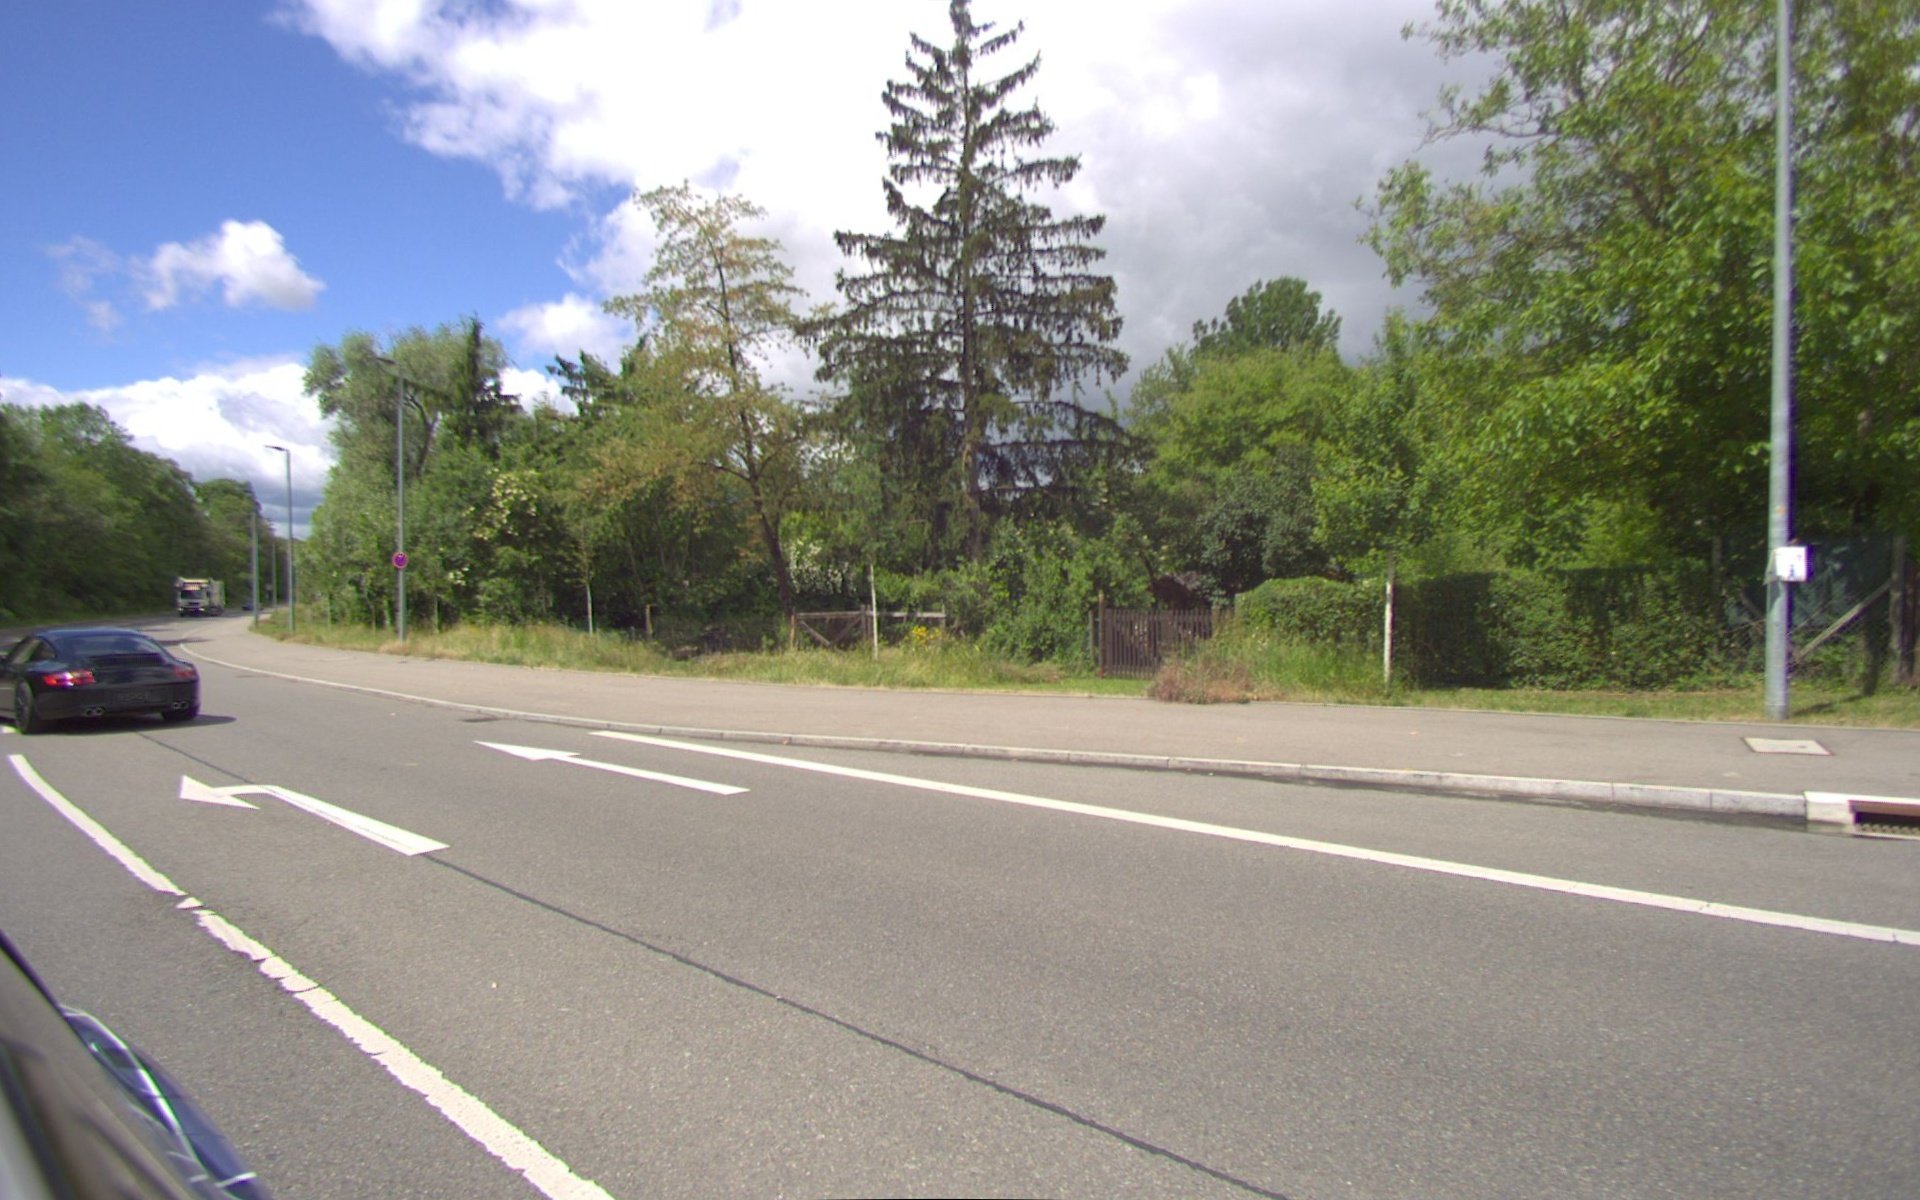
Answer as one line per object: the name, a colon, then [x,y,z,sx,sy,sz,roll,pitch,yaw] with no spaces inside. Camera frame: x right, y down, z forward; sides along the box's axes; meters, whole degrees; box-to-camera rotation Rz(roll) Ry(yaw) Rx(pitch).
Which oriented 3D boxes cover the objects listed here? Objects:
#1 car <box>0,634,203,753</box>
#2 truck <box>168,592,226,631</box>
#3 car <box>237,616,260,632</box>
car: [-12.056,1.163,13.774,3.996,1.311,1.719,-1,0,36]
truck: [-78.910,1.117,104.908,3.187,3.889,9.905,1,0,-28]
car: [-93.075,3.134,132.421,1.965,2.029,4.013,1,0,-27]
